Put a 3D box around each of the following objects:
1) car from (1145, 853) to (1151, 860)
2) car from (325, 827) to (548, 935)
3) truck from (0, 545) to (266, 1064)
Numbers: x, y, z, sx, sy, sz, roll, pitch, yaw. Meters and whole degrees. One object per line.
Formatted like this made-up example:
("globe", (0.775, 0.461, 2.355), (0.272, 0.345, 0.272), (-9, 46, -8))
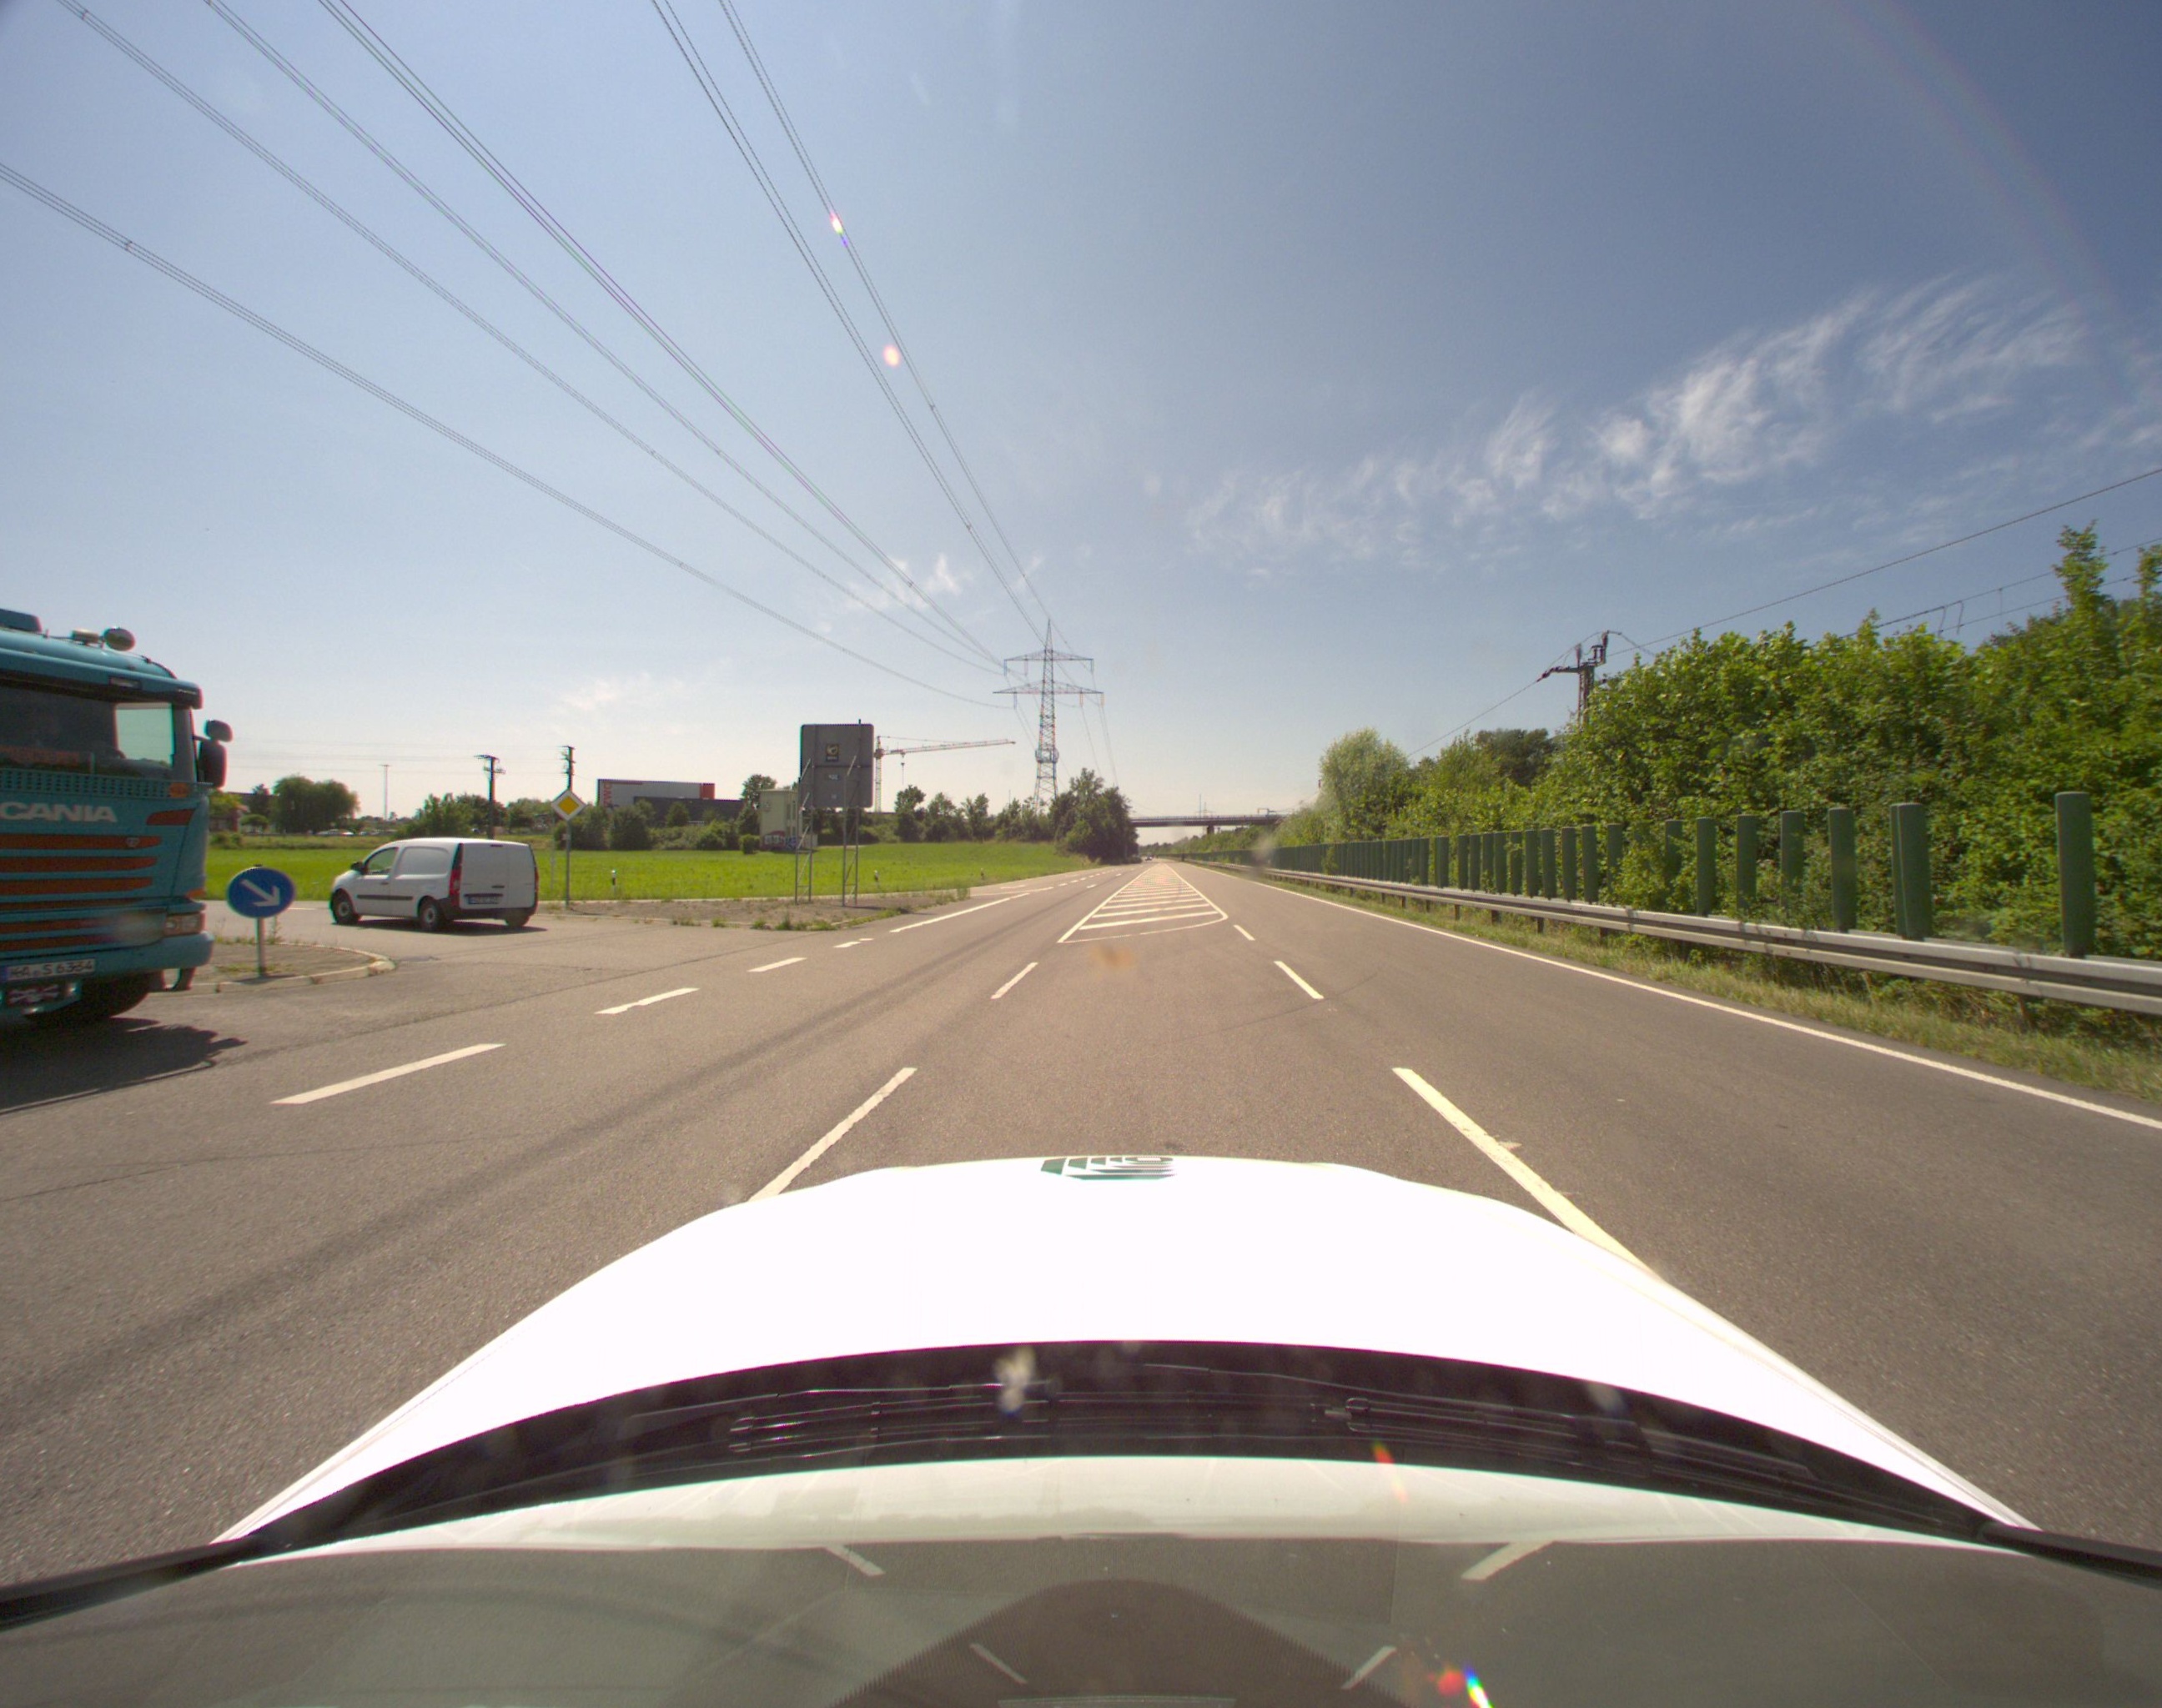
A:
("car", (20.047, 0.801, 243.952), (1.984, 2.013, 4.005), (1, 0, 5))
("car", (-13.017, 0.473, 16.467), (3.951, 1.971, 1.843), (1, -1, 24))
("truck", (-11.620, -0.456, 6.733), (7.861, 3.734, 2.503), (2, 0, 7))
